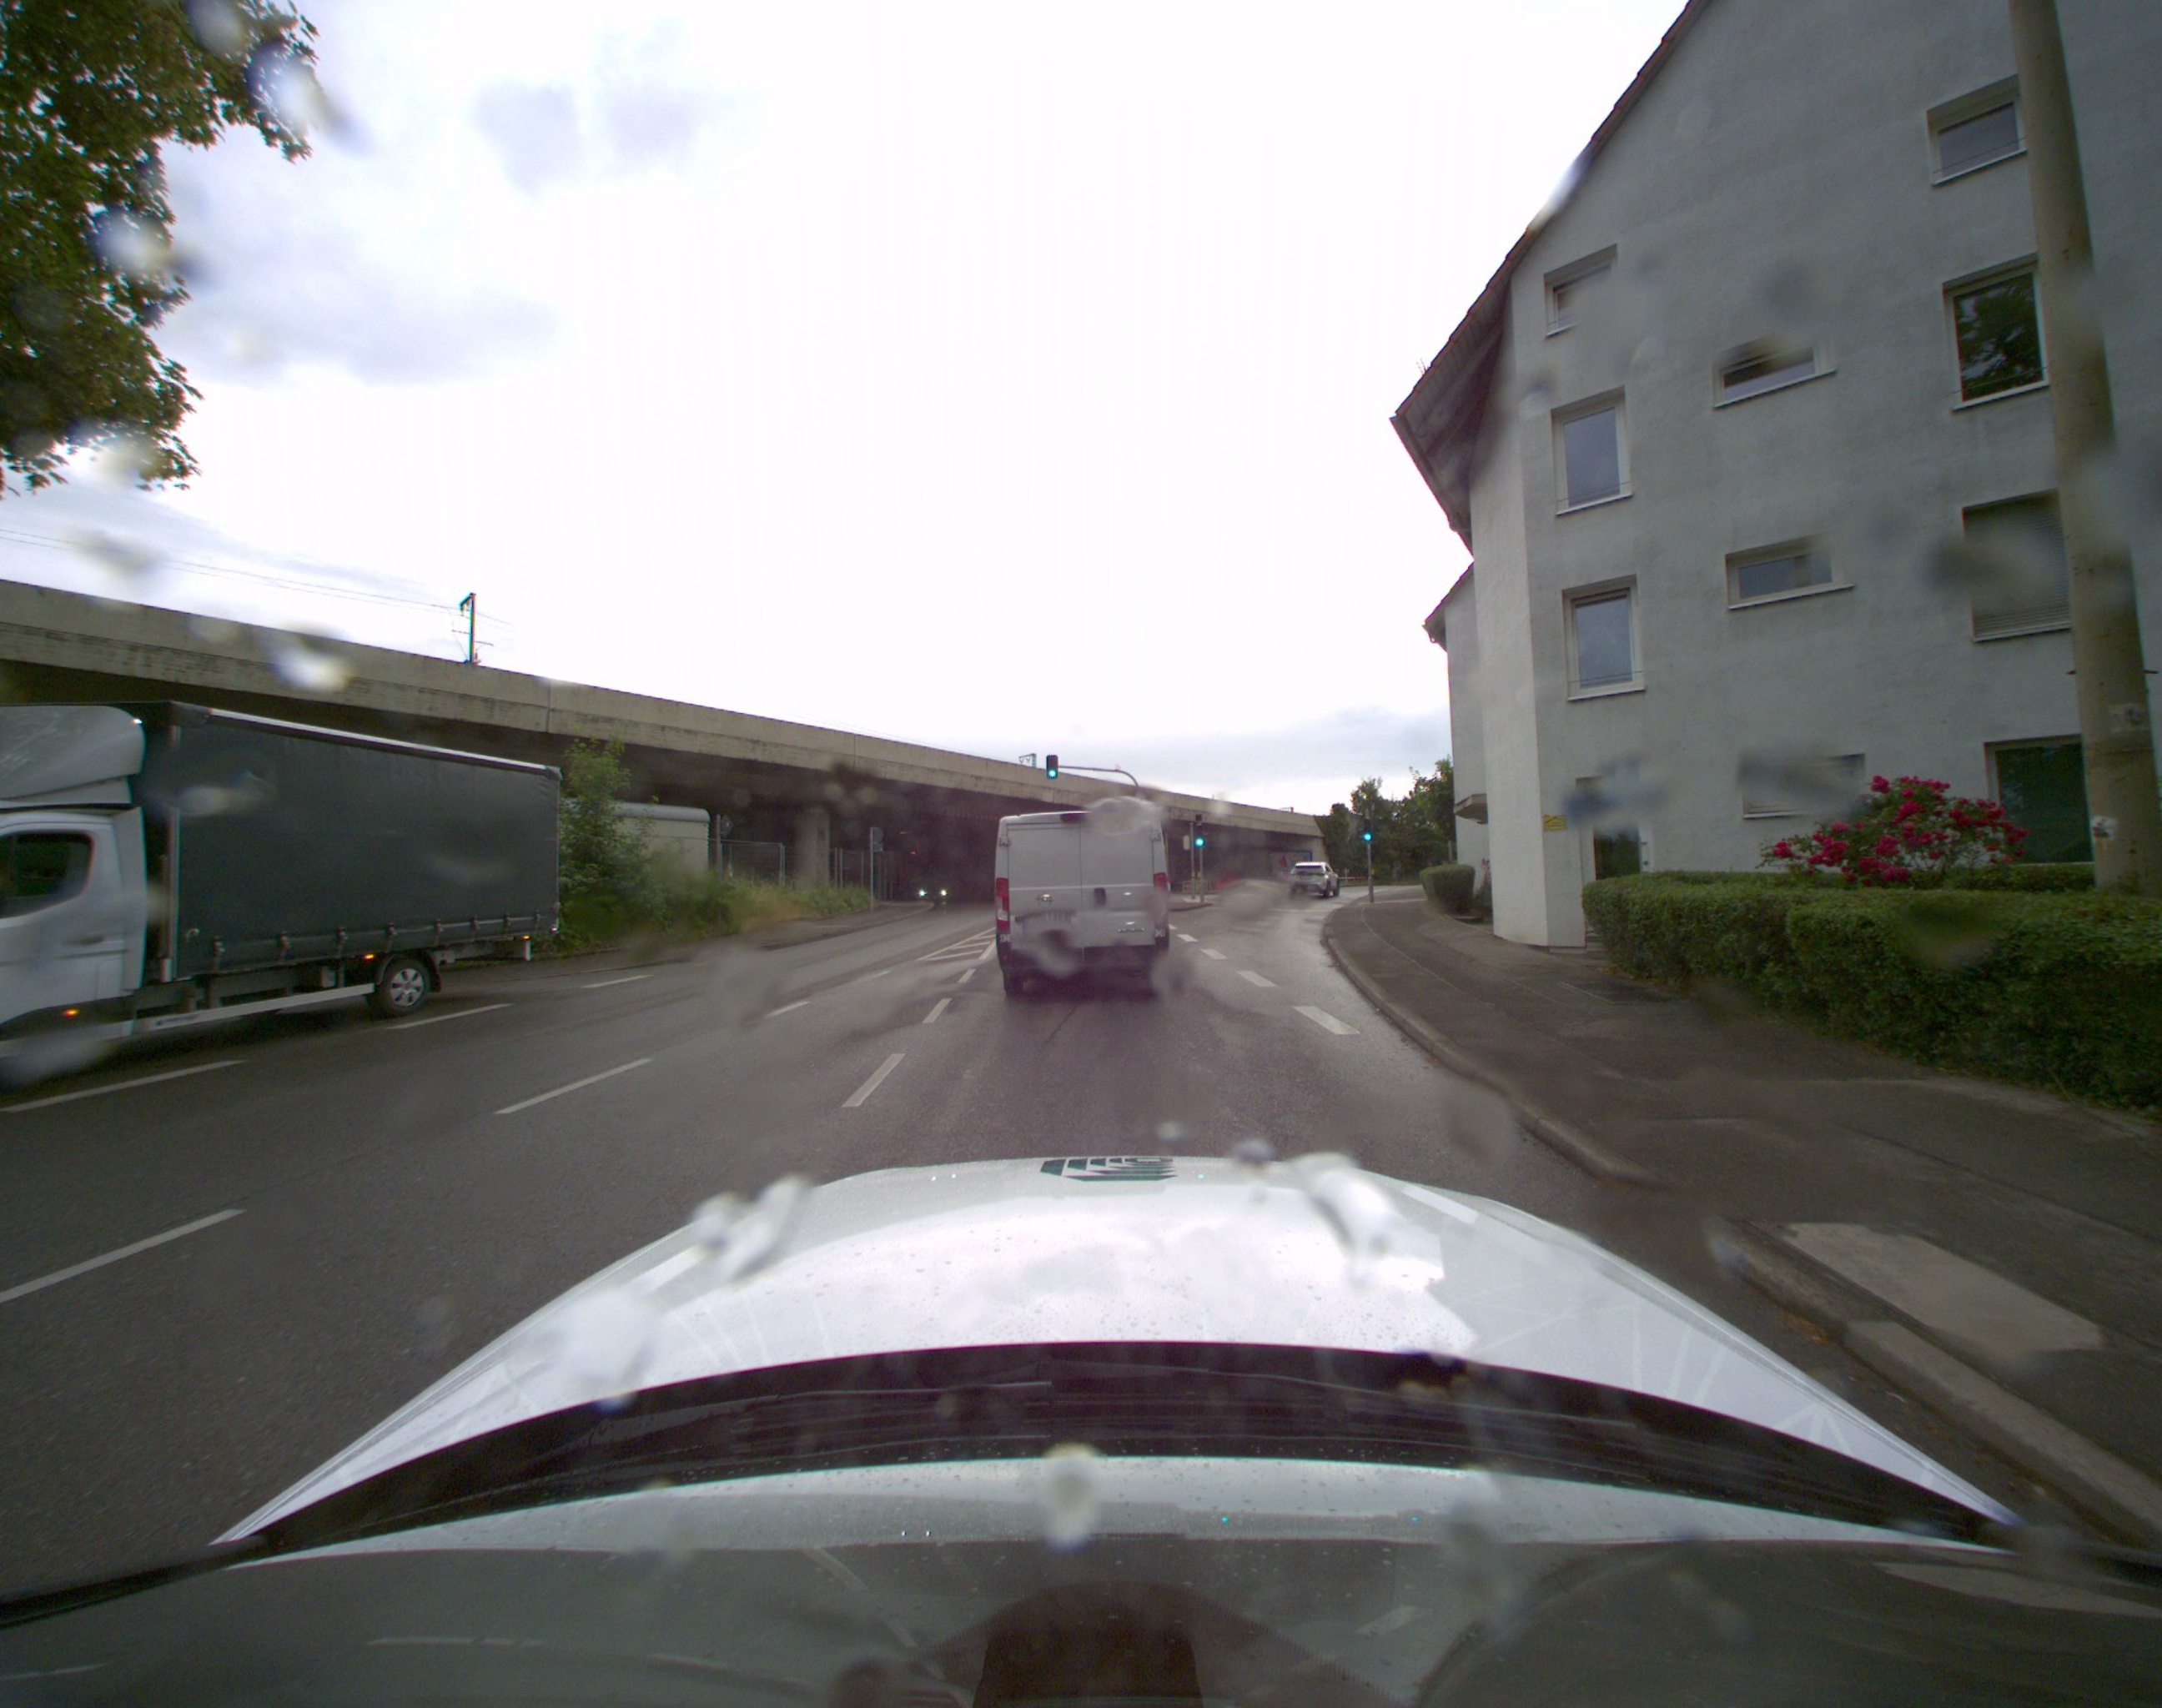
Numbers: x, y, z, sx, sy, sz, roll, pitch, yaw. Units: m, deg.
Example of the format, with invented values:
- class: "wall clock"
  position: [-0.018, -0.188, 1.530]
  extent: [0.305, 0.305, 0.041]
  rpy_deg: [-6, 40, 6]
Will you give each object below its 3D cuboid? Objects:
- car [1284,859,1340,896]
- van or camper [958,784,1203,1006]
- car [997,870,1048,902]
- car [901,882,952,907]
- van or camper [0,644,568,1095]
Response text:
- class: "car"
  position: [10.378, 1.025, 36.387]
  extent: [1.858, 1.530, 4.022]
  rpy_deg: [-2, -1, 24]
- class: "van or camper"
  position: [-0.018, 0.499, 11.549]
  extent: [2.690, 2.417, 4.901]
  rpy_deg: [-1, -1, -1]
- class: "car"
  position: [-3.563, 1.905, 49.184]
  extent: [2.001, 1.750, 3.972]
  rpy_deg: [-1, -1, -21]
- class: "car"
  position: [-10.637, 2.725, 55.785]
  extent: [2.006, 1.530, 4.456]
  rpy_deg: [0, -1, -31]
- class: "van or camper"
  position: [-9.258, 0.186, 8.477]
  extent: [2.688, 3.335, 7.764]
  rpy_deg: [-1, -1, 2]
